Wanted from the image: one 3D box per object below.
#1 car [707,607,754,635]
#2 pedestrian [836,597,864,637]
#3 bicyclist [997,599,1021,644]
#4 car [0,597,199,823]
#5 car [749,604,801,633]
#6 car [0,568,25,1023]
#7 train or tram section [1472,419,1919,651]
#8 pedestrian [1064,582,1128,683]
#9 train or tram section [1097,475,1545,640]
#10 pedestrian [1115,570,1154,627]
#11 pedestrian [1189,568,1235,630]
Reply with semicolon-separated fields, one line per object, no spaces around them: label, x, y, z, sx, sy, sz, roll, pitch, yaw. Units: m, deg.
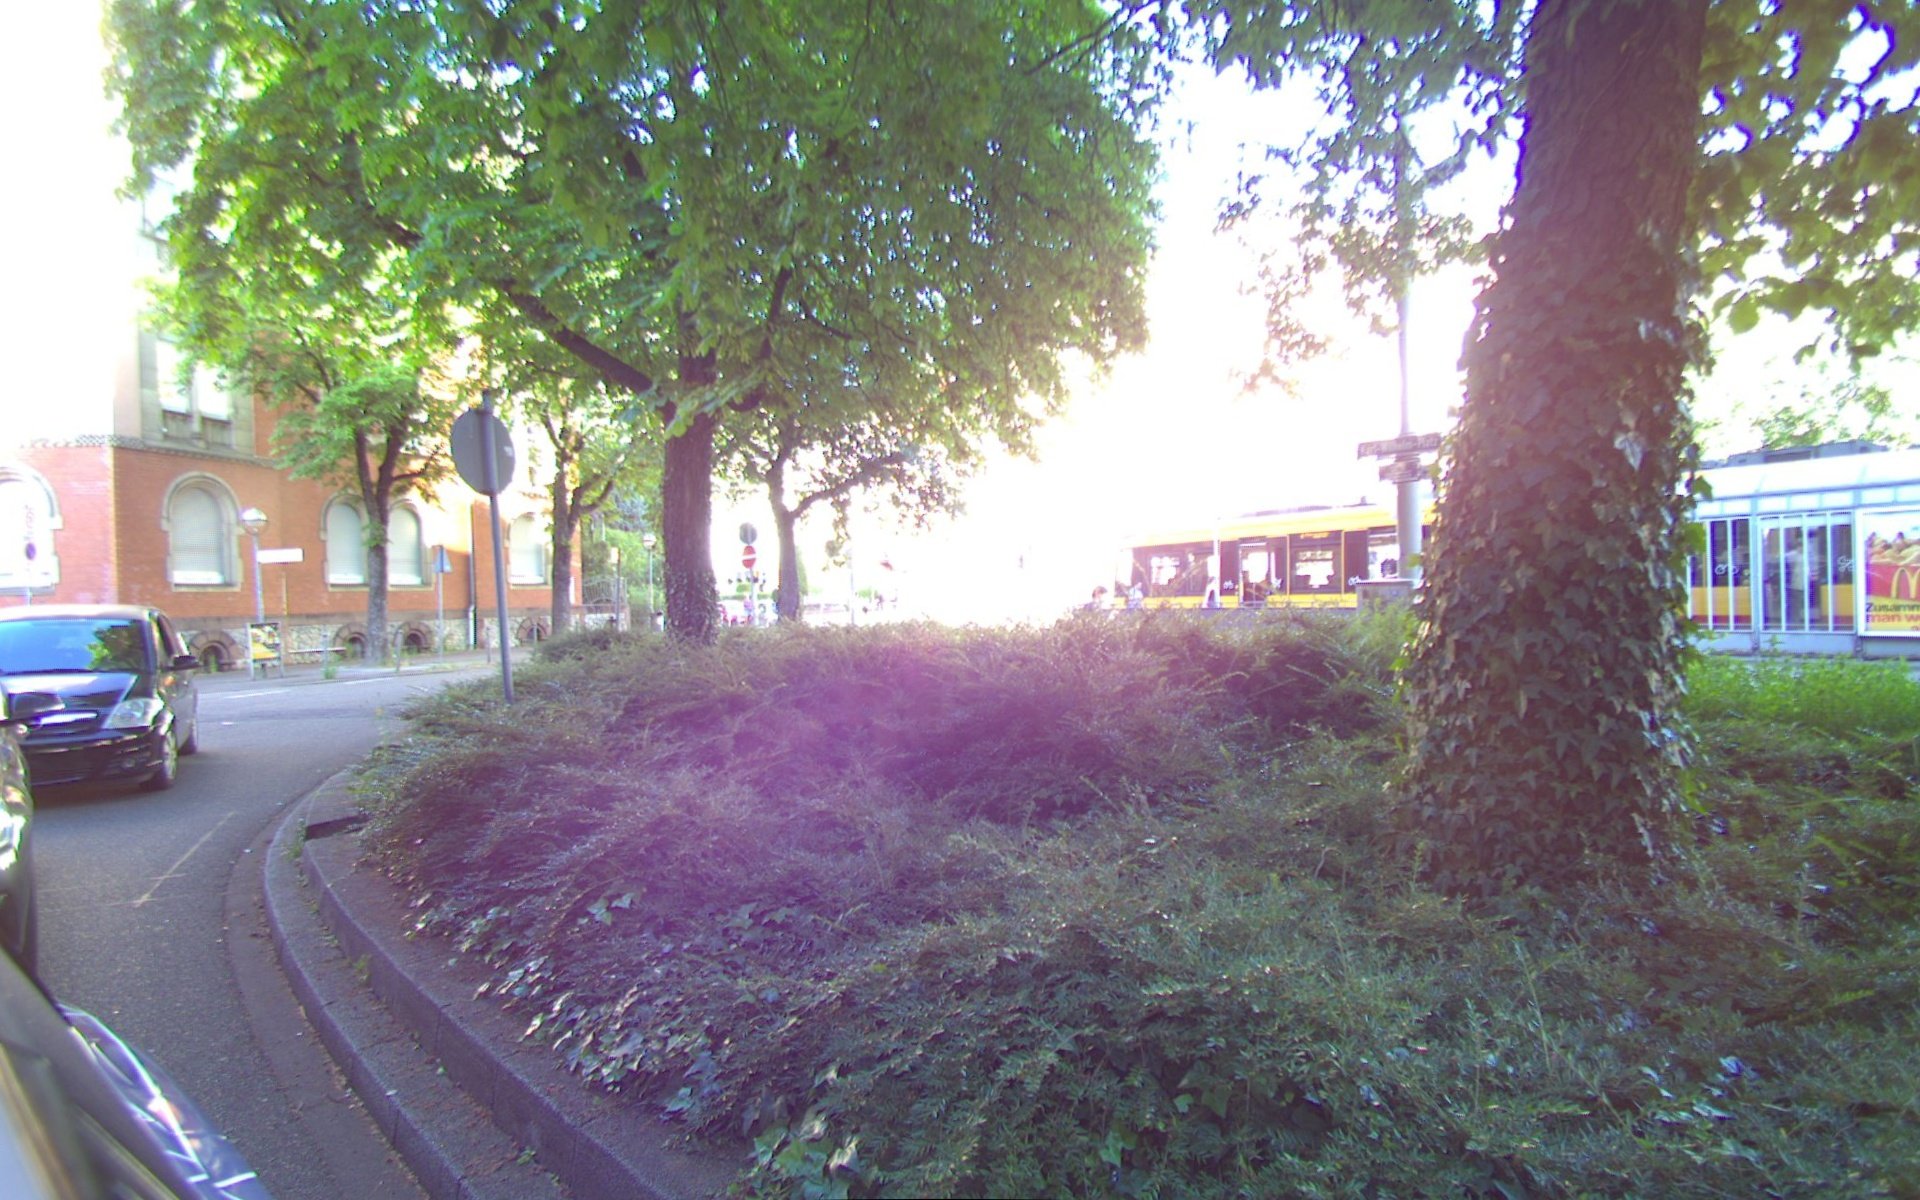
car;-13.771;1.235;60.554;1.707;1.427;4.013;-2;2;-29
pedestrian;-4.694;0.711;43.351;0.722;1.647;0.897;-3;1;27
bicyclist;1.743;0.756;35.899;0.588;1.585;0.557;-1;0;-30
car;-8.009;0.847;9.086;1.653;1.640;3.697;-2;0;-34
car;-9.770;0.974;53.299;1.707;1.428;4.013;-2;0;-25
car;-5.424;0.734;4.530;1.768;1.590;4.264;-1;-1;-43
train or tram section;15.610;-1.045;17.394;2.739;3.614;12.456;-2;0;-32
pedestrian;2.030;0.468;15.122;0.698;1.454;0.602;-2;0;-25
train or tram section;8.985;-0.883;28.115;2.727;3.584;12.718;-2;0;-32
pedestrian;5.211;-0.053;30.318;0.713;1.647;0.907;-4;1;-18
pedestrian;6.928;-0.017;27.813;0.714;1.647;0.907;-4;1;-35
